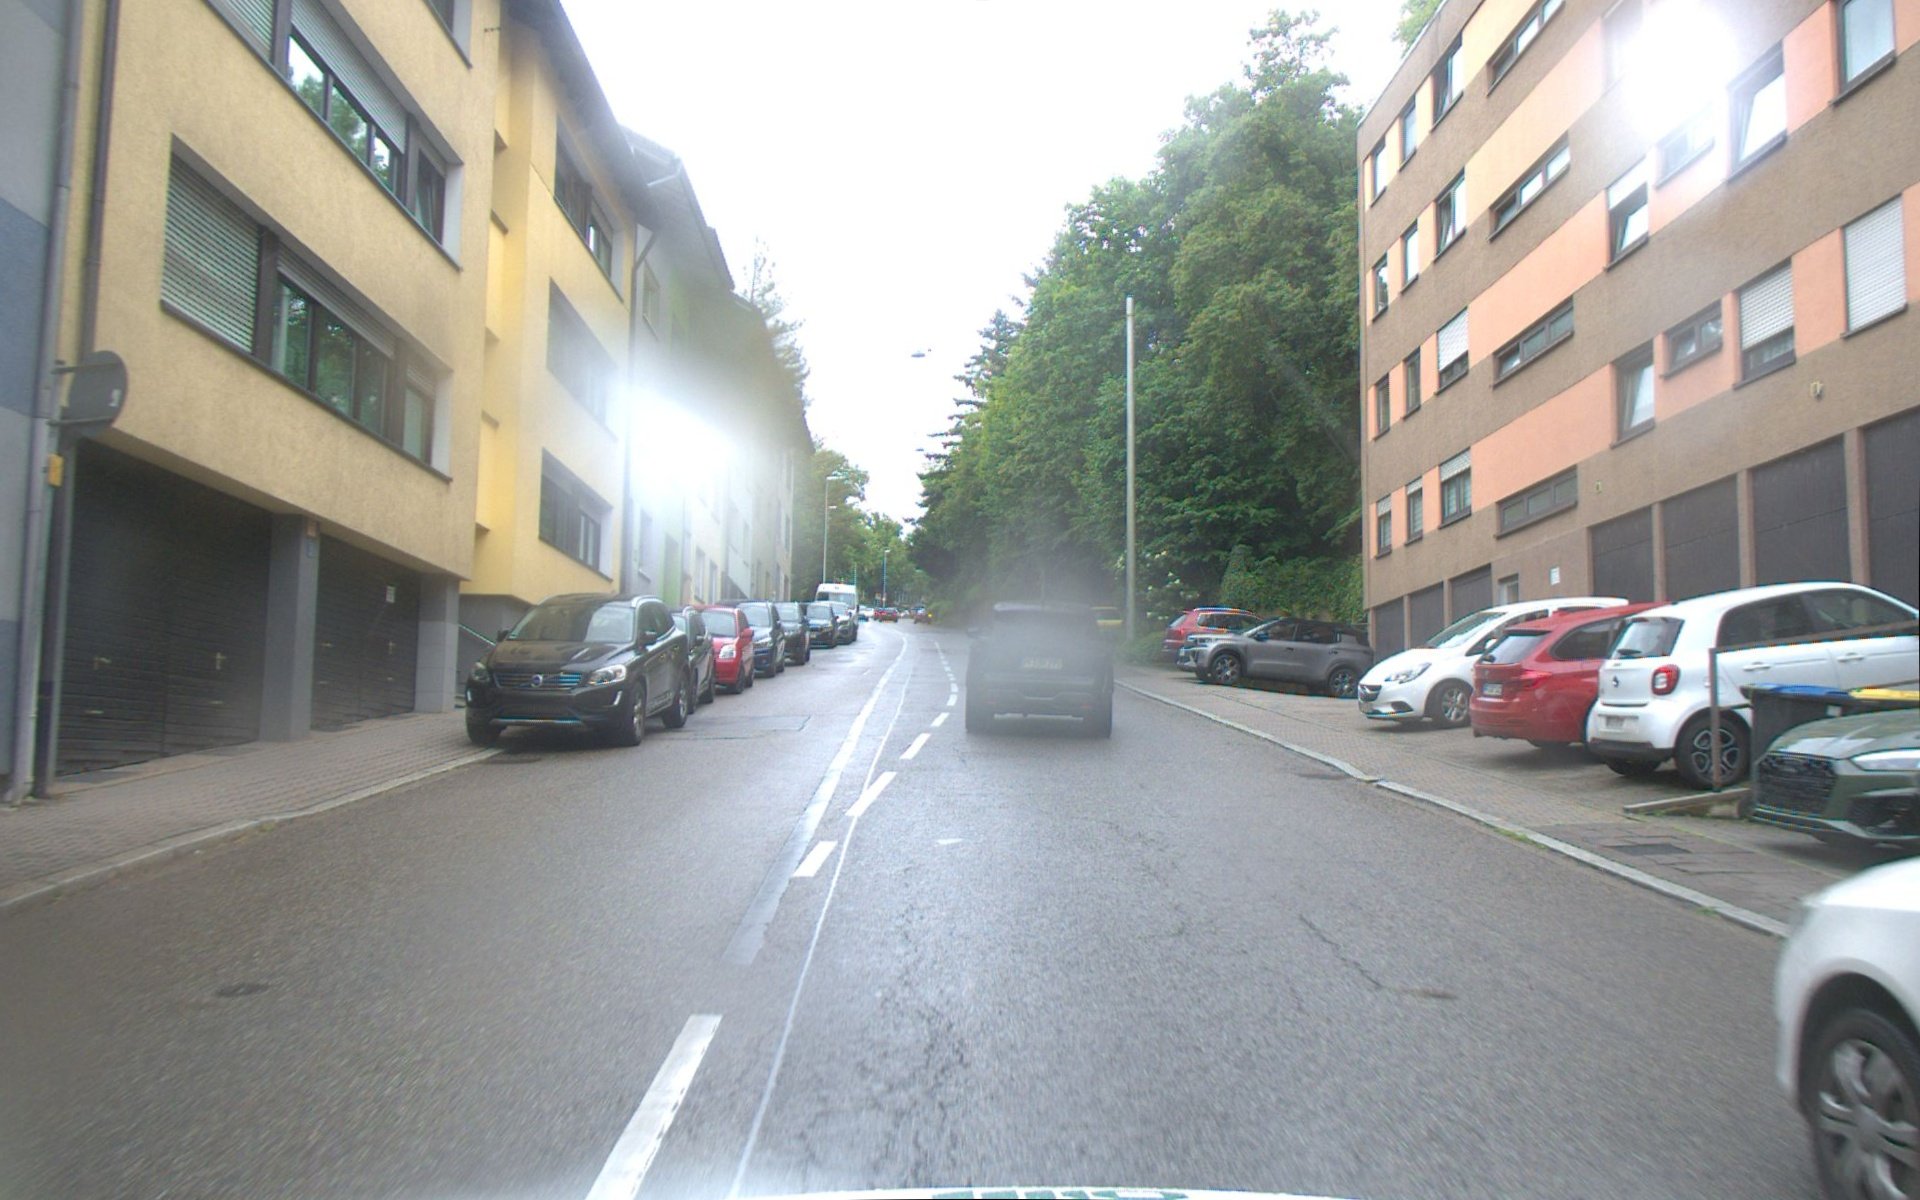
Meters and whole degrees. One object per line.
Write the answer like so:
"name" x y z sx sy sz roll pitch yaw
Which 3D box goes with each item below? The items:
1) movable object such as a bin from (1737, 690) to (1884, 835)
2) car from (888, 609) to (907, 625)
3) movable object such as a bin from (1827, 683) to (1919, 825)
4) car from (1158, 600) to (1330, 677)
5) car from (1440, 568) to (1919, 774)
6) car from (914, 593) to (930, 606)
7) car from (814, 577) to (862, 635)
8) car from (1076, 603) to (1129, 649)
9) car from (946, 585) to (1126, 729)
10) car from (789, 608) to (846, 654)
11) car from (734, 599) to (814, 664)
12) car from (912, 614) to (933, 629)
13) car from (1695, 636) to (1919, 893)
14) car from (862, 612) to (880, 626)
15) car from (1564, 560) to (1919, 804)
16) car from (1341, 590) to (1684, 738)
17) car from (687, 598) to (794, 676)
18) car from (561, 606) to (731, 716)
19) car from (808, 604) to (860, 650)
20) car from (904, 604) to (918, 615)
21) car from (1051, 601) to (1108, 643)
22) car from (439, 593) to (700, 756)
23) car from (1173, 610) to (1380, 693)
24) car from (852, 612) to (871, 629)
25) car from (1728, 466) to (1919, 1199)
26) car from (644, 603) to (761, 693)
"movable object such as a bin" 6.507 1.228 12.684 0.708 1.039 0.771 2 -3 -2
"car" -6.673 1.835 176.333 2.033 1.587 3.998 1 0 -3
"movable object such as a bin" 7.256 1.180 12.769 0.708 1.039 0.771 2 -3 -2
"car" 7.521 1.015 43.942 4.117 1.765 1.758 4 -1 -6
"car" 7.455 0.692 17.189 4.257 1.556 1.876 -6 0 -3
"car" -5.027 0.002 219.424 1.952 1.587 3.999 0 -2 1
"car" -5.455 0.265 74.618 1.950 2.518 5.781 1 0 -3
"car" 5.113 0.925 59.656 1.599 1.557 4.000 2 0 1
"car" 0.865 0.646 21.093 1.953 1.586 3.999 2 0 -2
"car" -5.262 1.111 61.557 1.950 1.613 4.303 1 0 -3
"car" -4.880 0.795 43.931 1.816 1.613 4.303 1 0 -3
"car" -4.008 2.292 176.879 2.034 1.587 3.996 1 0 -5
"car" 7.362 1.023 10.944 4.183 1.492 1.893 1 0 -3
"car" -10.672 2.320 197.944 2.033 1.587 3.998 1 0 -3
"car" 7.582 0.638 14.589 3.751 1.731 1.727 -5 0 -3
"car" 7.251 0.810 21.901 3.886 1.556 1.690 -5 0 -6
"car" -4.790 0.768 36.644 1.954 1.613 4.469 1 0 -3
"car" -4.711 0.868 25.442 1.954 1.498 4.346 1 0 -3
"car" -5.125 1.093 67.850 1.950 1.786 4.477 1 0 -3
"car" -7.413 1.431 250.247 1.952 1.587 3.999 0 -2 1
"car" 4.758 0.866 66.470 1.774 1.557 4.415 -1 0 -2
"car" -4.422 0.770 19.477 1.952 1.679 4.442 1 0 1
"car" 6.928 1.115 36.458 4.115 1.522 1.759 4 -1 -4
"car" -10.413 2.153 174.926 1.954 1.586 3.998 2 0 -3
"car" 3.138 0.617 2.809 1.607 1.793 3.998 2 0 -3
"car" -4.604 0.823 29.957 1.694 1.498 3.489 1 0 -3
